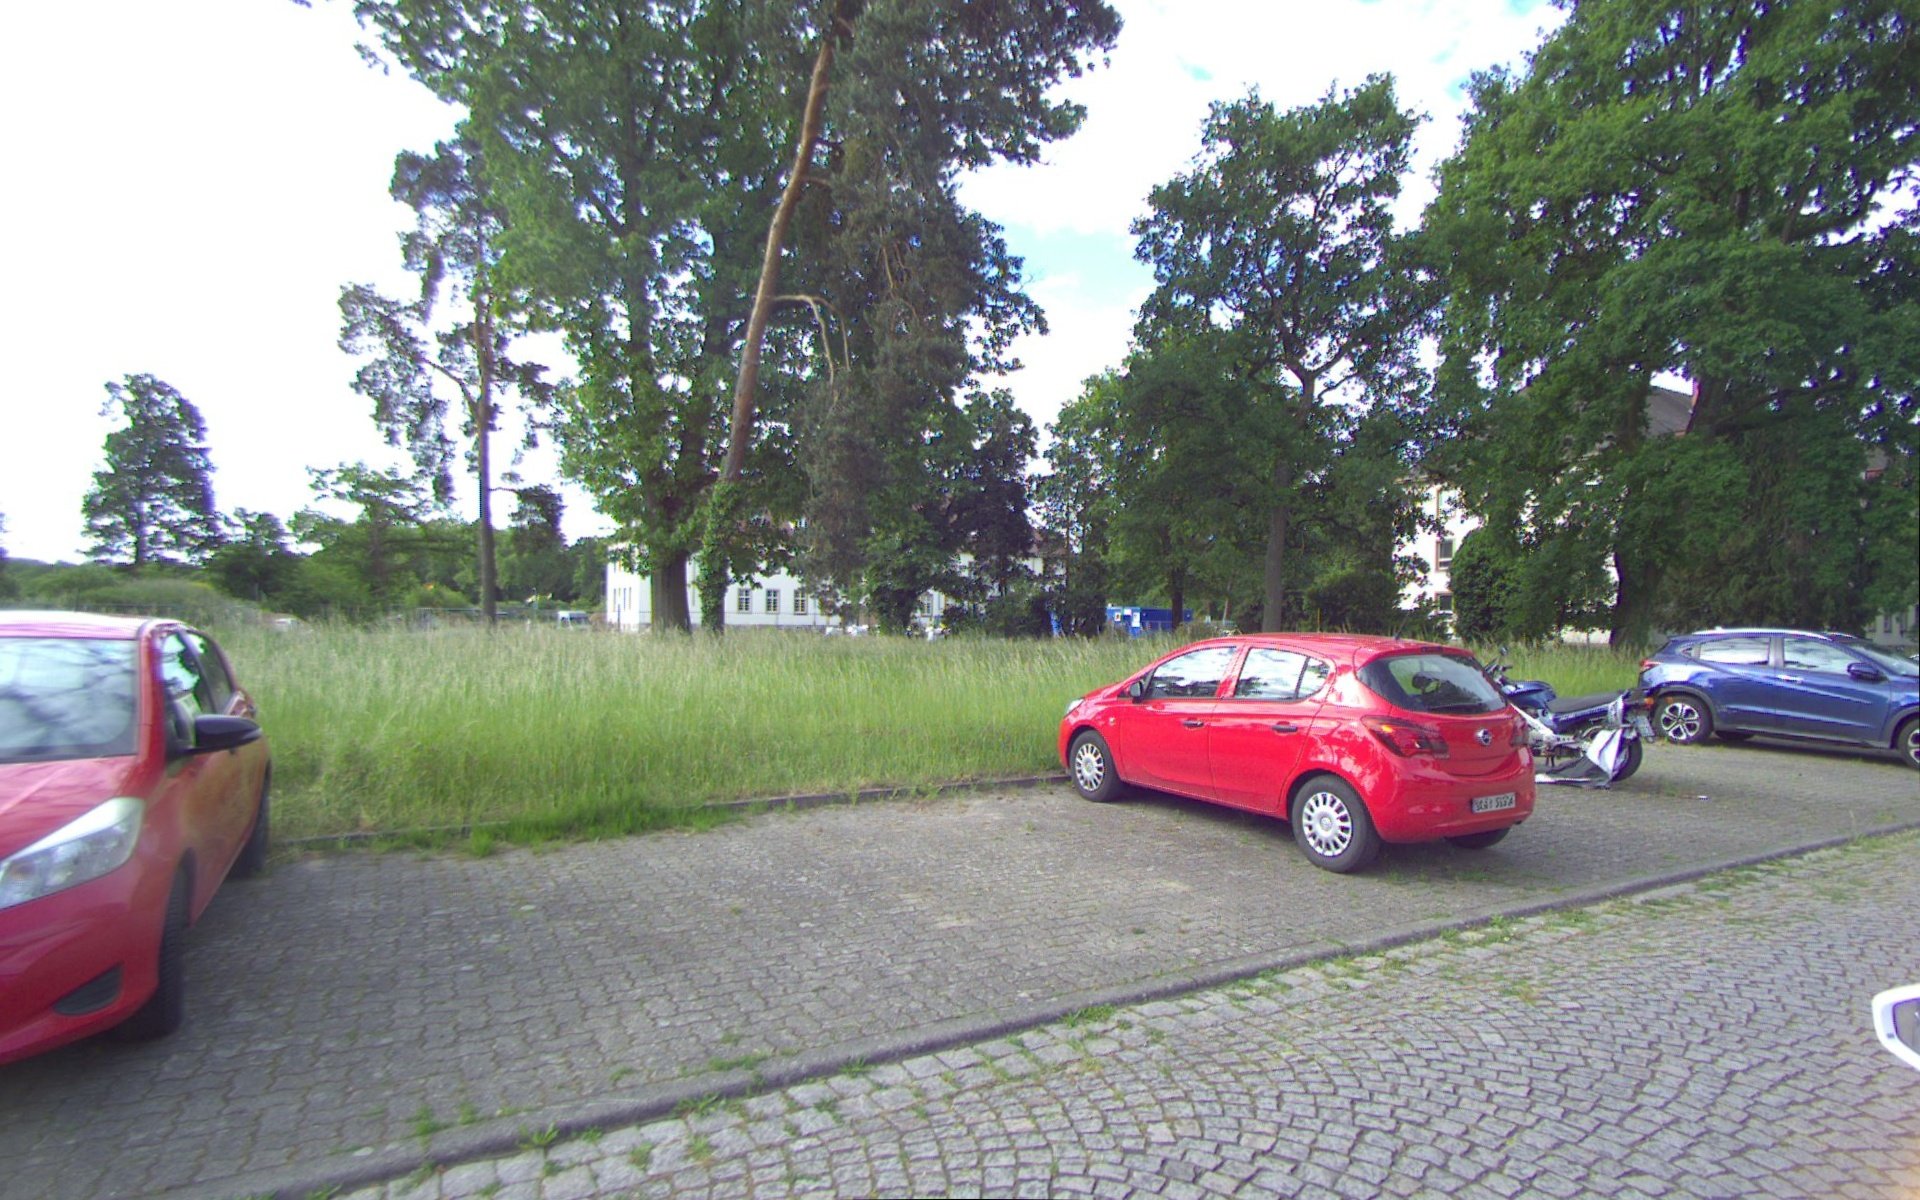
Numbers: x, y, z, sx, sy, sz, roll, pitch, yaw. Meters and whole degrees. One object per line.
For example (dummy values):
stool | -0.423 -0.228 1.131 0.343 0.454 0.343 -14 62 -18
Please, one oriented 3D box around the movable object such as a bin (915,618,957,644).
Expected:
movable object such as a bin | -2.338 2.936 95.856 2.347 2.283 4.495 3 -2 -24

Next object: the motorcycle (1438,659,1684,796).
motorcycle | 6.150 1.250 10.456 0.638 1.174 2.218 1 -1 -26

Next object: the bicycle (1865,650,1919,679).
bicycle | 36.306 2.507 39.023 1.682 1.067 0.572 0 -3 41

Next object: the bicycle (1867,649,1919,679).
bicycle | 35.271 2.421 37.790 1.682 1.067 0.572 0 -3 41

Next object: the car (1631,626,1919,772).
car | 11.238 1.182 12.865 1.767 1.625 4.051 1 -1 -30

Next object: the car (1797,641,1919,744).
car | 15.341 1.426 15.024 1.604 1.486 4.058 1 -1 -25

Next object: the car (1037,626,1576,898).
car | 2.409 0.993 7.908 1.766 1.509 3.798 1 -1 -30

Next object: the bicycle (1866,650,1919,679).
bicycle | 35.643 2.452 38.234 1.682 1.067 0.572 0 -3 41

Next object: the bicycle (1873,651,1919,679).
bicycle | 37.696 2.604 40.206 1.682 1.067 0.572 0 -3 41

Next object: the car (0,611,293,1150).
car | -4.077 0.815 4.275 1.740 1.506 3.799 1 -1 -29
